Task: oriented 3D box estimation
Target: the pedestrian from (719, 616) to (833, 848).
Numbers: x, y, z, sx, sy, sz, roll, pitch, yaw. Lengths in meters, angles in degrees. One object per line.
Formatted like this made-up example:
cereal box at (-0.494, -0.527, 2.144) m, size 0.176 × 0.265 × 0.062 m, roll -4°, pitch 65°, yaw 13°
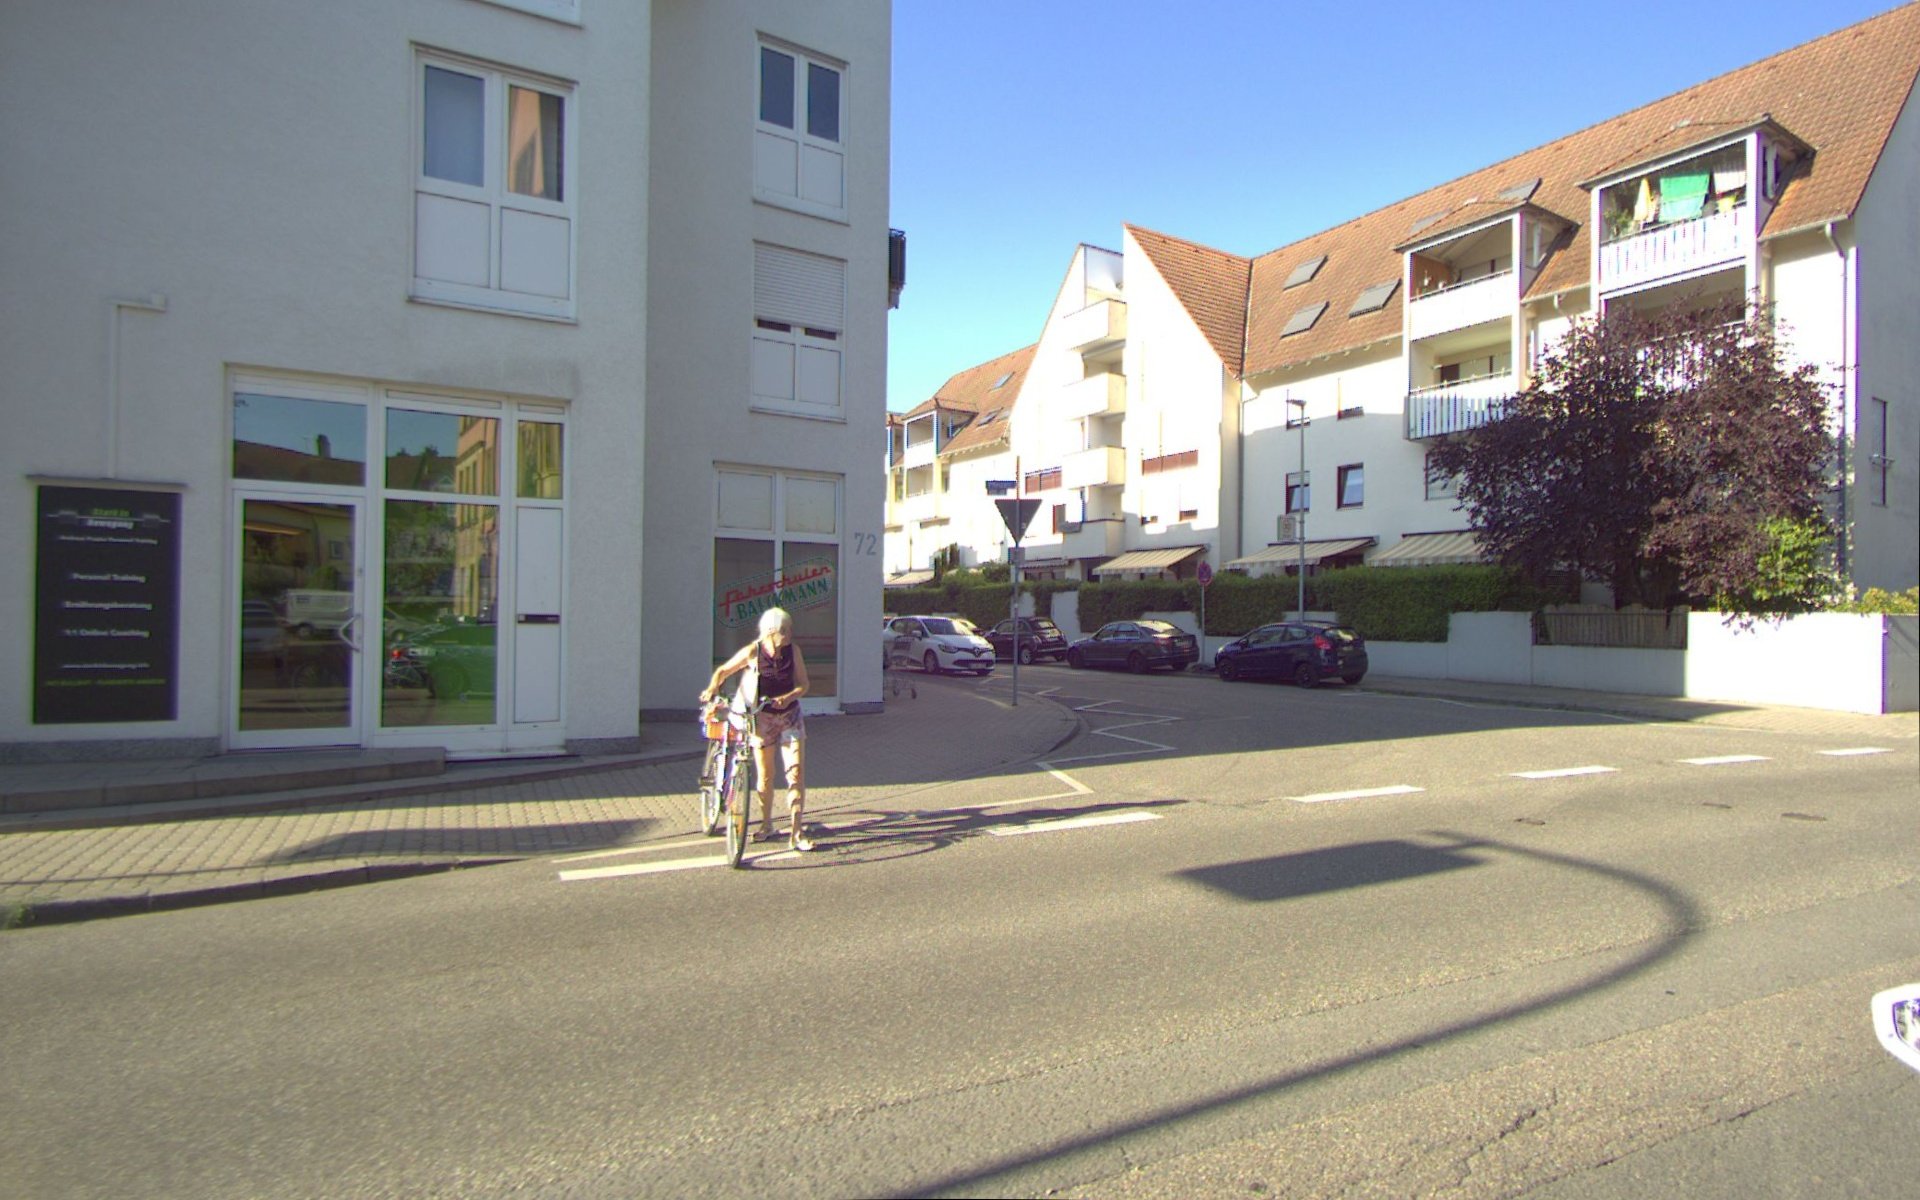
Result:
pedestrian at (-1.264, 0.864, 6.880) m, size 0.594 × 1.492 × 0.554 m, roll 1°, pitch -1°, yaw -30°

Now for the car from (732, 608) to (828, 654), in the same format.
car at (-6.421, 1.086, 35.616) m, size 1.979 × 1.528 × 3.964 m, roll 1°, pitch -1°, yaw -33°

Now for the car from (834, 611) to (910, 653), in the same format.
car at (-3.813, 1.334, 42.997) m, size 1.655 × 1.721 × 3.967 m, roll 1°, pitch -1°, yaw -31°

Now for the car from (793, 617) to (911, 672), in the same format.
car at (-3.322, 1.294, 30.361) m, size 1.979 × 1.528 × 3.964 m, roll 1°, pitch -1°, yaw -33°

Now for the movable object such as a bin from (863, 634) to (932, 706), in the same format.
movable object such as a bin at (-1.064, 1.168, 17.078) m, size 0.875 × 1.180 × 0.850 m, roll 1°, pitch -1°, yaw -31°

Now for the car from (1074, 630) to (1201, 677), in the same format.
car at (4.967, 1.482, 28.526) m, size 1.657 × 1.197 × 3.658 m, roll 1°, pitch -1°, yaw -29°

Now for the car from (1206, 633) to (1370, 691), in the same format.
car at (7.621, 1.408, 23.603) m, size 1.597 × 1.197 × 3.524 m, roll 1°, pitch -1°, yaw -29°

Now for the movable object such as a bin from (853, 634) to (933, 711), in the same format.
movable object such as a bin at (-1.134, 1.189, 16.874) m, size 0.882 × 1.180 × 1.212 m, roll 1°, pitch 0°, yaw -31°

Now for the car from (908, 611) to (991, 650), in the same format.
car at (-0.437, 1.123, 37.446) m, size 1.557 × 1.373 × 3.577 m, roll 1°, pitch -1°, yaw -29°

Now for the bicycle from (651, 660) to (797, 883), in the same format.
bicycle at (-1.638, 1.049, 6.756) m, size 0.591 × 1.200 × 1.781 m, roll 1°, pitch -1°, yaw -25°

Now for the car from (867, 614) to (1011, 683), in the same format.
car at (-0.621, 1.223, 25.900) m, size 1.887 × 1.528 × 3.905 m, roll 4°, pitch -1°, yaw -33°

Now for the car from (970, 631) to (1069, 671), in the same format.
car at (1.934, 1.672, 33.680) m, size 1.585 × 1.197 × 3.658 m, roll 1°, pitch -1°, yaw -29°
